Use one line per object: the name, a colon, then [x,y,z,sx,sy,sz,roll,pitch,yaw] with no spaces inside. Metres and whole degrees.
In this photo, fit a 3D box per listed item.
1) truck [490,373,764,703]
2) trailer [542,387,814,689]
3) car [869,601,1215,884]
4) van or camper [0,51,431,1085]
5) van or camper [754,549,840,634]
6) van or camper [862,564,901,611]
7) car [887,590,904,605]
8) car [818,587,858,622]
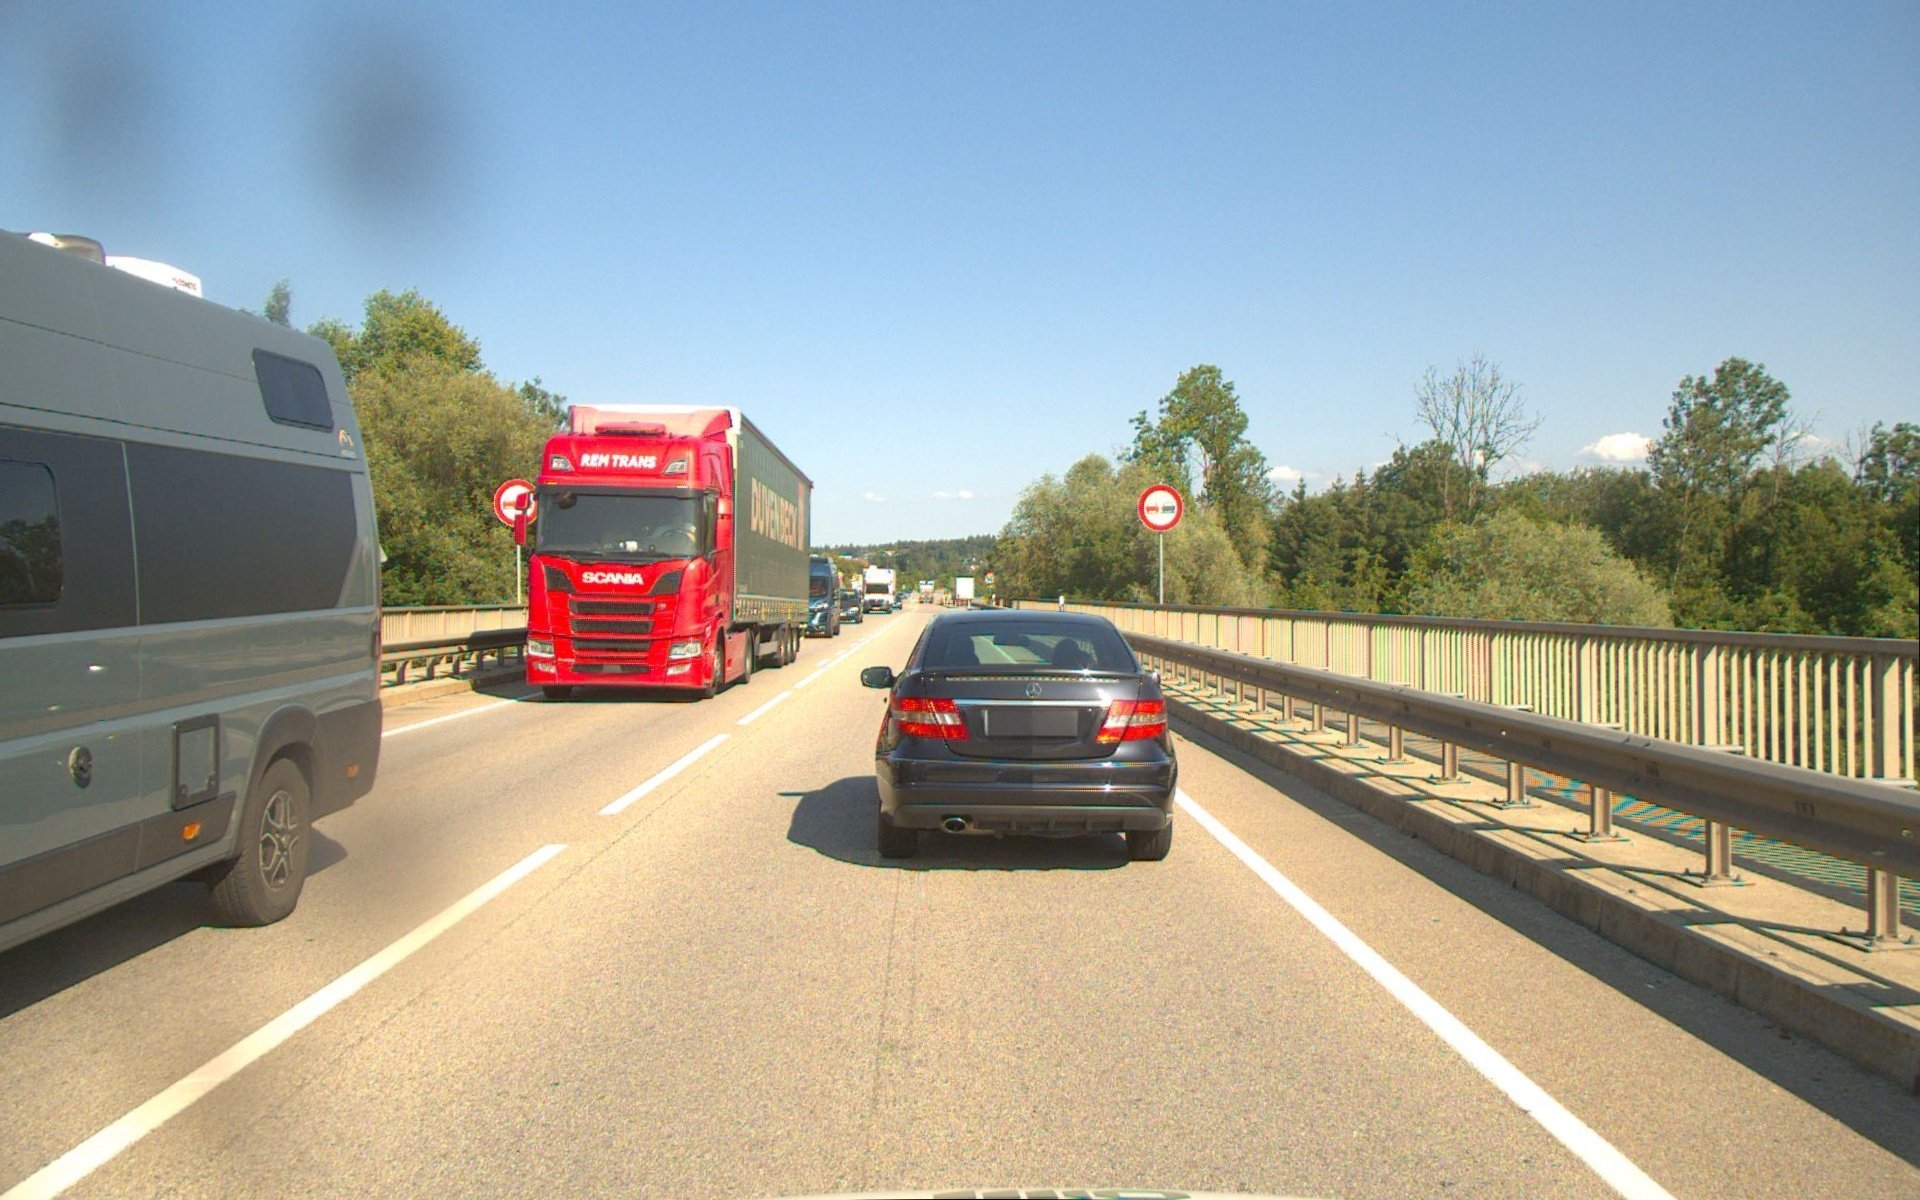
truck: [-4.657,-0.818,24.305,2.848,4.257,5.713,0,0,0]
trailer: [-4.738,-0.941,31.260,2.848,4.377,14.299,1,0,-1]
car: [0.429,0.729,10.451,1.756,1.400,4.000,0,0,0]
van or camper: [-4.030,-0.104,5.750,2.268,3.104,6.816,0,0,-1]
van or camper: [-5.414,-0.276,55.846,2.381,2.688,6.403,0,0,-1]
van or camper: [-5.769,-0.937,122.079,2.582,3.313,7.748,1,0,-1]
car: [-6.362,-0.299,163.904,1.626,1.461,4.186,1,0,-3]
car: [-5.936,0.211,80.891,1.804,1.670,4.574,1,0,-3]
